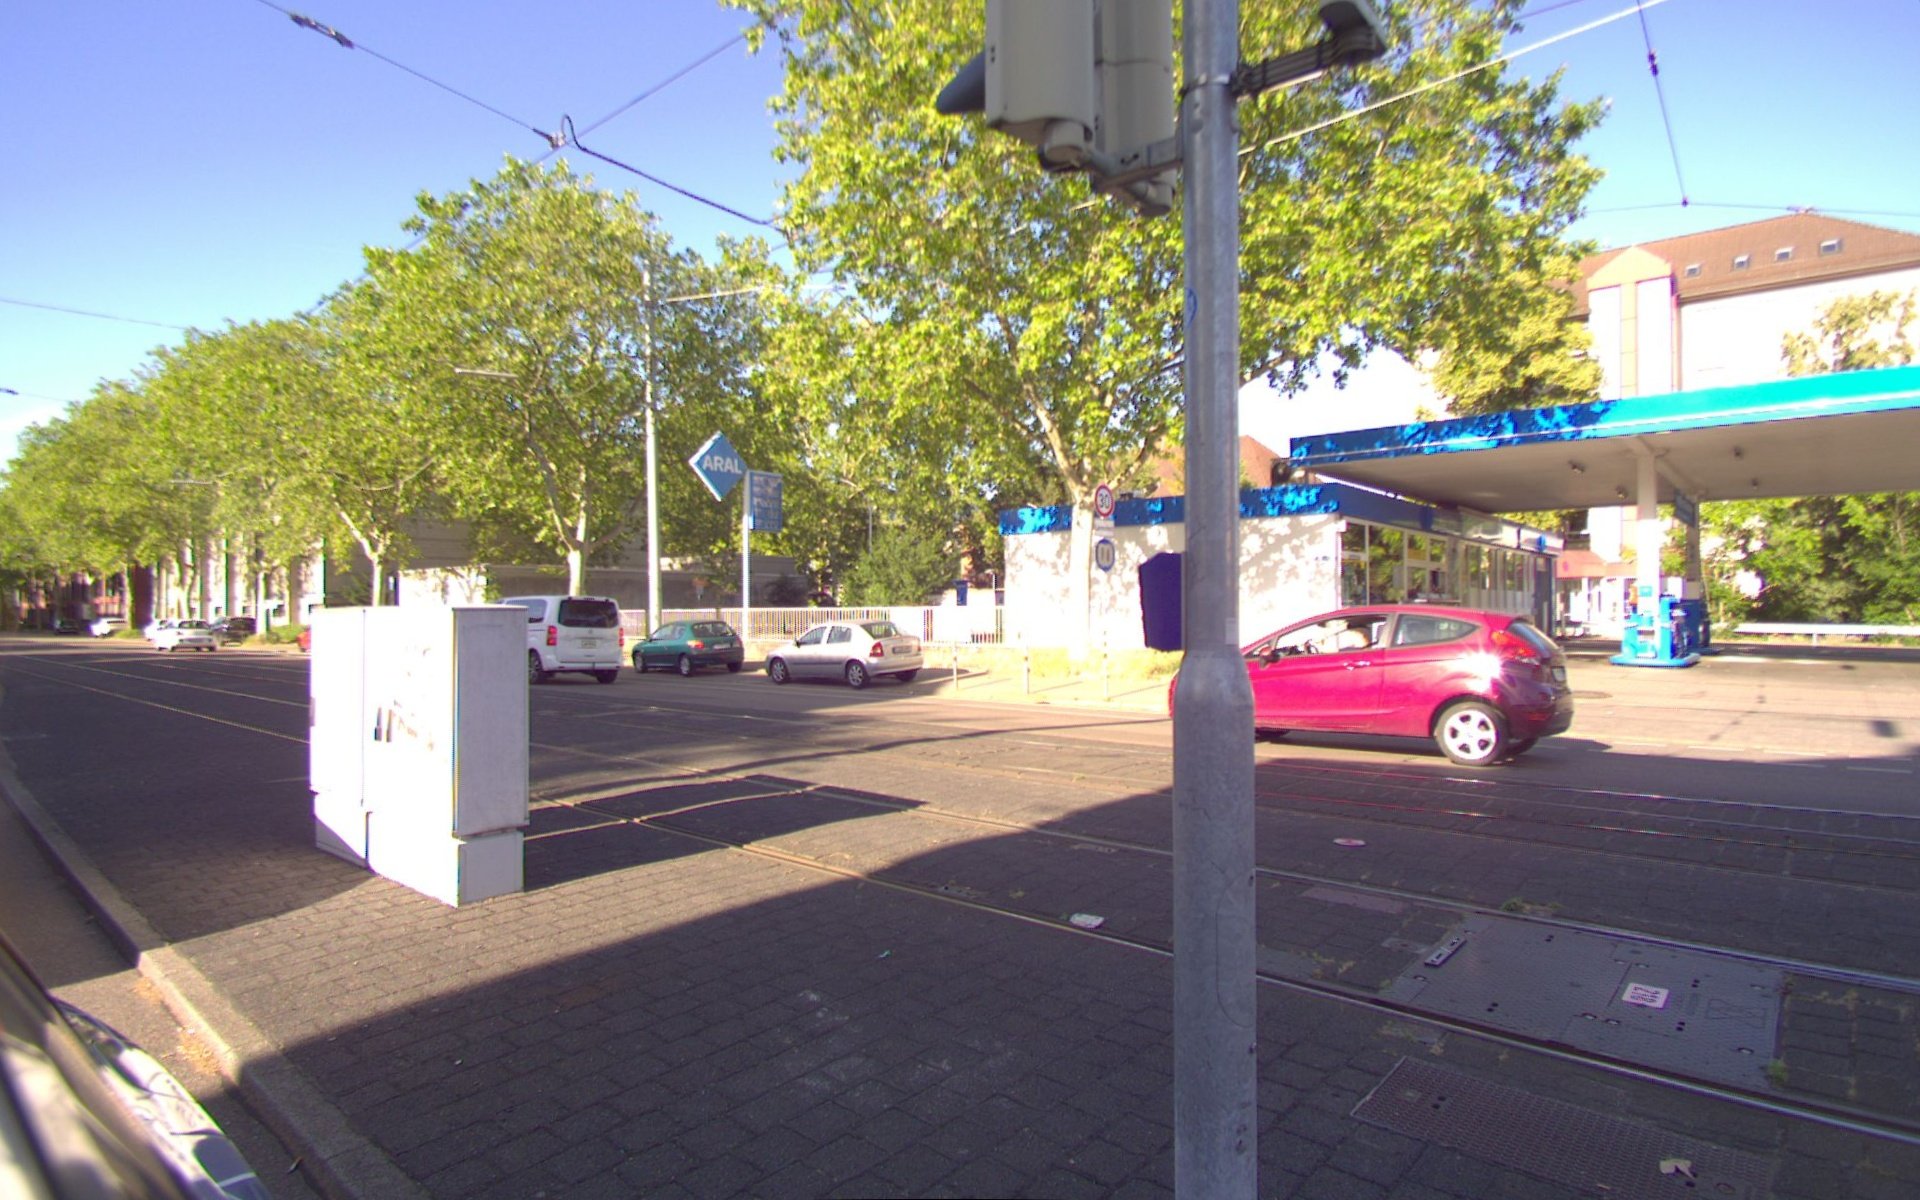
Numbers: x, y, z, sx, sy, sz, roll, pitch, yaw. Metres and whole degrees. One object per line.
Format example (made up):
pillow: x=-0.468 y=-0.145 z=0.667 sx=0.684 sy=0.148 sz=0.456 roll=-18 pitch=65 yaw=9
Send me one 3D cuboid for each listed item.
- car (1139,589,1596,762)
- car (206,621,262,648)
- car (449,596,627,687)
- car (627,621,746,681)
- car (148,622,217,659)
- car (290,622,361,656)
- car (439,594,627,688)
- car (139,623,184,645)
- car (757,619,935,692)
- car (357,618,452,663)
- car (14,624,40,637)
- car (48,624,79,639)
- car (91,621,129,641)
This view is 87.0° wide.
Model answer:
car: x=4.009 y=0.693 z=10.318 sx=3.998 sy=1.431 sz=1.678 roll=-1 pitch=-4 yaw=41
car: x=-40.603 y=1.892 z=56.569 sx=3.998 sy=1.420 sz=1.678 roll=-1 pitch=-2 yaw=41
car: x=-9.516 y=0.879 z=22.675 sx=4.390 sy=1.860 sz=1.827 roll=-1 pitch=-2 yaw=39
car: x=-7.284 y=1.304 z=26.848 sx=3.253 sy=1.431 sz=1.526 roll=-1 pitch=0 yaw=41
car: x=-34.924 y=1.793 z=45.425 sx=3.998 sy=1.507 sz=1.741 roll=-1 pitch=0 yaw=41
car: x=-29.011 y=1.753 z=46.233 sx=3.998 sy=1.480 sz=1.678 roll=-1 pitch=-2 yaw=41
car: x=-9.774 y=0.945 z=22.963 sx=5.111 sy=1.889 sz=1.863 roll=-4 pitch=-2 yaw=41
car: x=-53.813 y=2.294 z=68.192 sx=3.998 sy=1.420 sz=1.678 roll=-1 pitch=-2 yaw=41
car: x=-2.613 y=1.165 z=22.624 sx=3.998 sy=1.431 sz=1.709 roll=-1 pitch=0 yaw=41
car: x=-22.188 y=1.567 z=40.335 sx=4.431 sy=1.534 sz=1.731 roll=-1 pitch=3 yaw=40
car: x=-103.233 y=3.395 z=111.964 sx=3.998 sy=1.420 sz=1.678 roll=-1 pitch=-2 yaw=41
car: x=-85.186 y=2.979 z=96.156 sx=3.998 sy=1.420 sz=1.678 roll=-1 pitch=-2 yaw=41
car: x=-66.815 y=2.419 z=79.540 sx=3.998 sy=1.569 sz=1.678 roll=-1 pitch=-2 yaw=41
